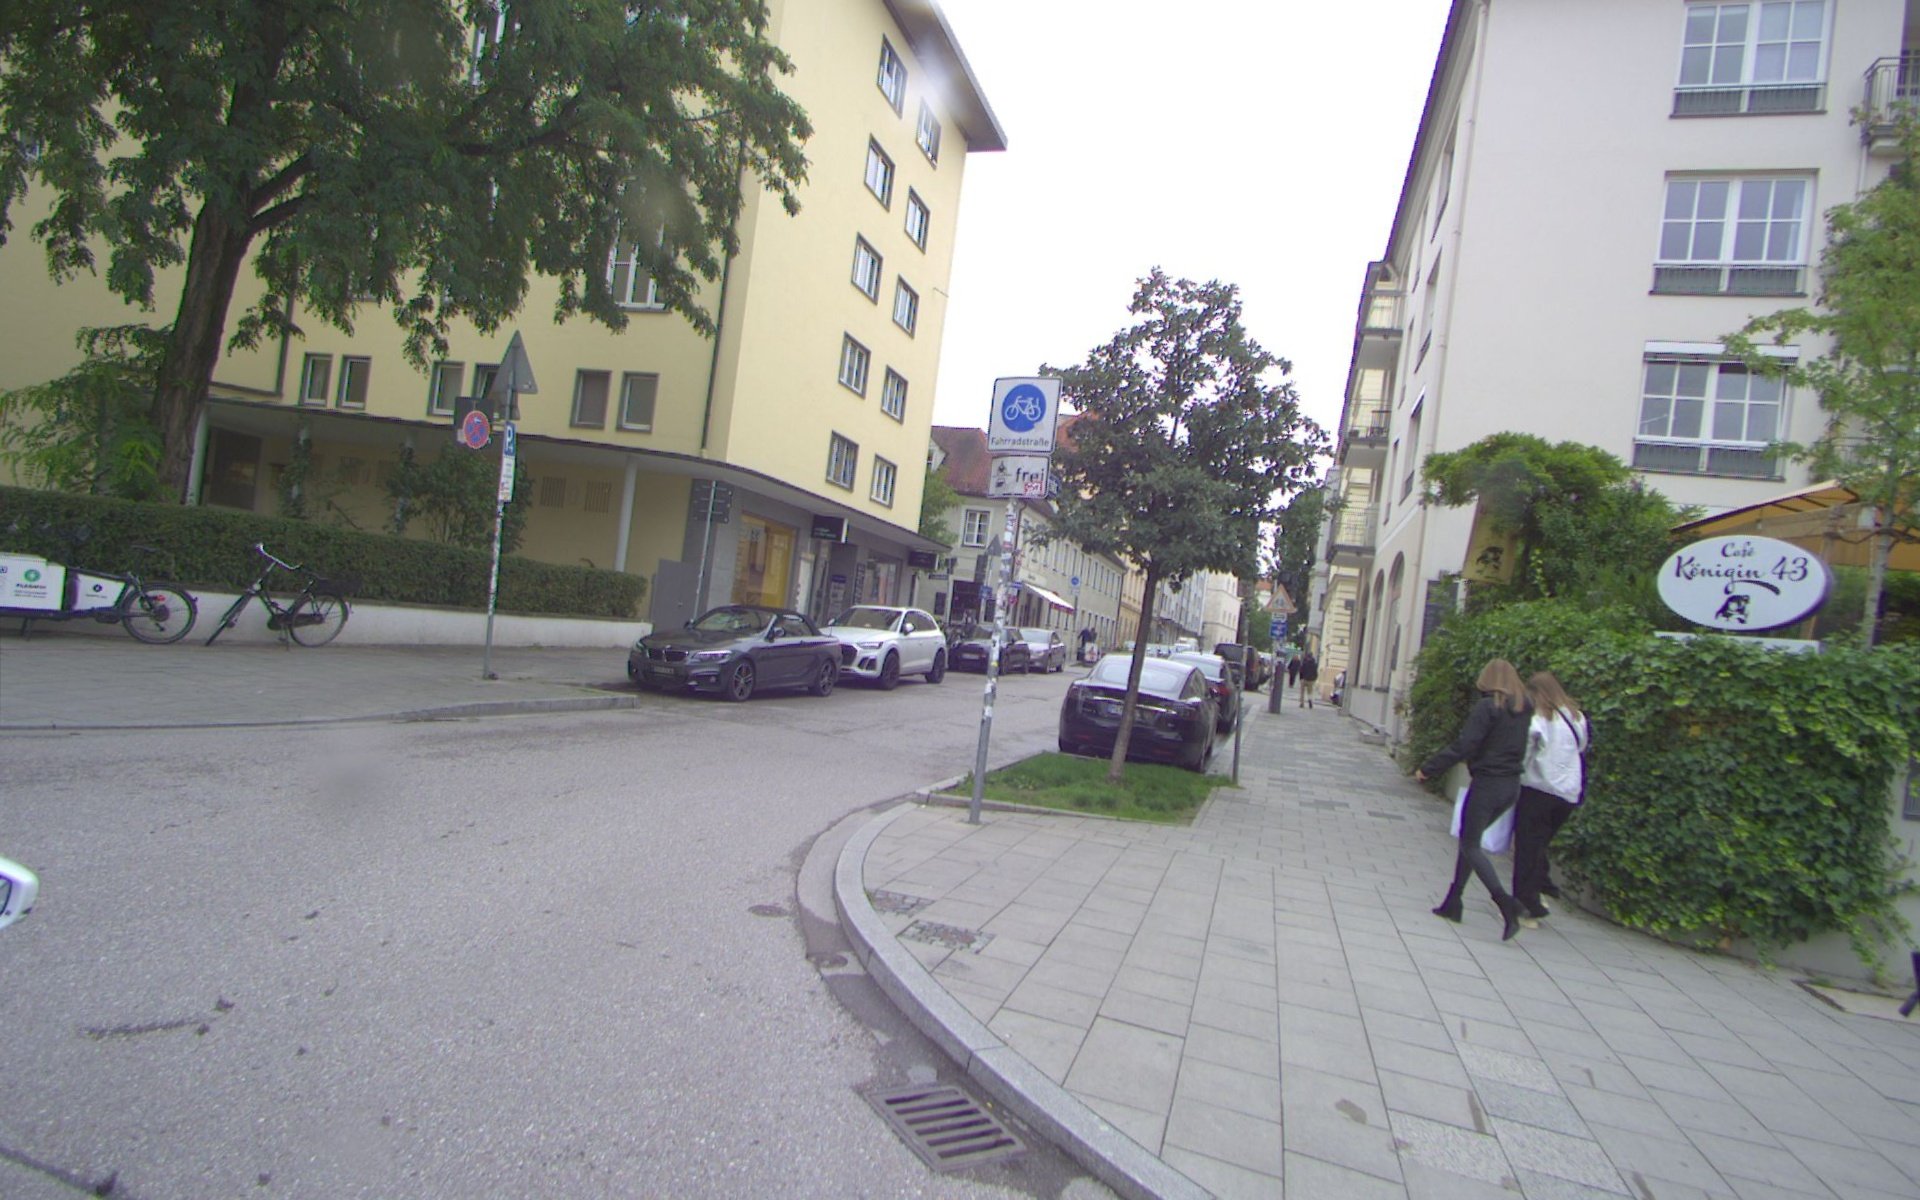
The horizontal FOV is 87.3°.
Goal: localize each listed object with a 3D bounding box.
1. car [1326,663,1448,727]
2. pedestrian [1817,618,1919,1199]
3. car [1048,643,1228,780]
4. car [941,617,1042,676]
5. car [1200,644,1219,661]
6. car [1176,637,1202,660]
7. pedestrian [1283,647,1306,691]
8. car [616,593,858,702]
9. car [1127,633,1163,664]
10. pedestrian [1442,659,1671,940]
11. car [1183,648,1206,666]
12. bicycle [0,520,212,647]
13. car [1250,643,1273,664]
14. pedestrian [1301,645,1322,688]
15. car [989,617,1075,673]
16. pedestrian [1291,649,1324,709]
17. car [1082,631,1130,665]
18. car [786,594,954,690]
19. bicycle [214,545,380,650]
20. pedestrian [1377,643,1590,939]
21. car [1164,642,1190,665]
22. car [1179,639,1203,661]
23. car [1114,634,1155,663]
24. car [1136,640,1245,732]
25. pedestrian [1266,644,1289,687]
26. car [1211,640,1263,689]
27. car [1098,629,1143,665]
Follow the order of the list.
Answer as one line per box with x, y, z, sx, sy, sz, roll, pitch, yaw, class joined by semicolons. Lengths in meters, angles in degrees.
13.892;3.063;32.905;3.417;1.548;1.577;7;0;20;car
2.567;0.937;2.260;0.654;1.719;0.544;7;2;7;pedestrian
2.753;1.486;14.588;1.932;1.415;4.508;7;-1;17;car
1.026;1.408;30.009;1.792;1.417;4.002;7;-1;19;car
28.370;5.973;114.234;1.742;1.615;4.000;8;0;17;car
19.028;4.039;83.525;1.756;1.682;4.003;7;-1;15;car
16.384;3.364;49.266;0.773;2.038;0.832;7;0;13;pedestrian
-3.347;0.783;16.079;1.631;1.383;4.336;4;-2;20;car
11.771;3.106;63.792;1.756;1.682;4.003;7;-1;15;car
3.855;1.256;6.565;0.796;1.626;0.828;6;0;-12;pedestrian
22.877;5.547;98.042;1.672;1.526;4.000;7;0;18;car
-9.219;-0.171;10.443;0.630;1.129;2.169;7;-1;35;bicycle
26.059;4.623;86.846;1.672;1.526;4.001;7;0;17;car
17.625;3.313;50.424;0.742;2.038;0.832;7;0;19;pedestrian
2.502;1.542;33.992;1.791;1.548;4.002;7;-1;18;car
10.848;2.459;31.435;0.773;1.735;0.832;7;0;18;pedestrian
7.357;2.422;50.446;1.709;1.439;4.003;7;-1;17;car
-1.749;0.861;21.095;1.823;1.683;4.319;4;0;19;car
-8.087;0.010;12.361;0.451;1.144;1.688;7;-1;17;bicycle
3.233;1.143;6.283;0.669;1.649;0.828;6;0;-10;pedestrian
16.723;4.094;77.471;1.661;1.426;3.504;8;0;15;car
20.306;4.389;88.297;1.756;1.682;4.003;7;-1;15;car
10.324;2.864;59.302;1.756;1.431;4.002;7;-1;17;car
5.023;1.789;21.545;1.691;1.548;4.002;7;-1;19;car
15.632;3.210;49.550;0.773;2.038;0.832;7;0;13;pedestrian
12.099;2.812;43.765;1.785;1.796;4.002;7;-1;19;car
8.828;2.581;55.138;1.756;1.682;4.002;7;-1;17;car
